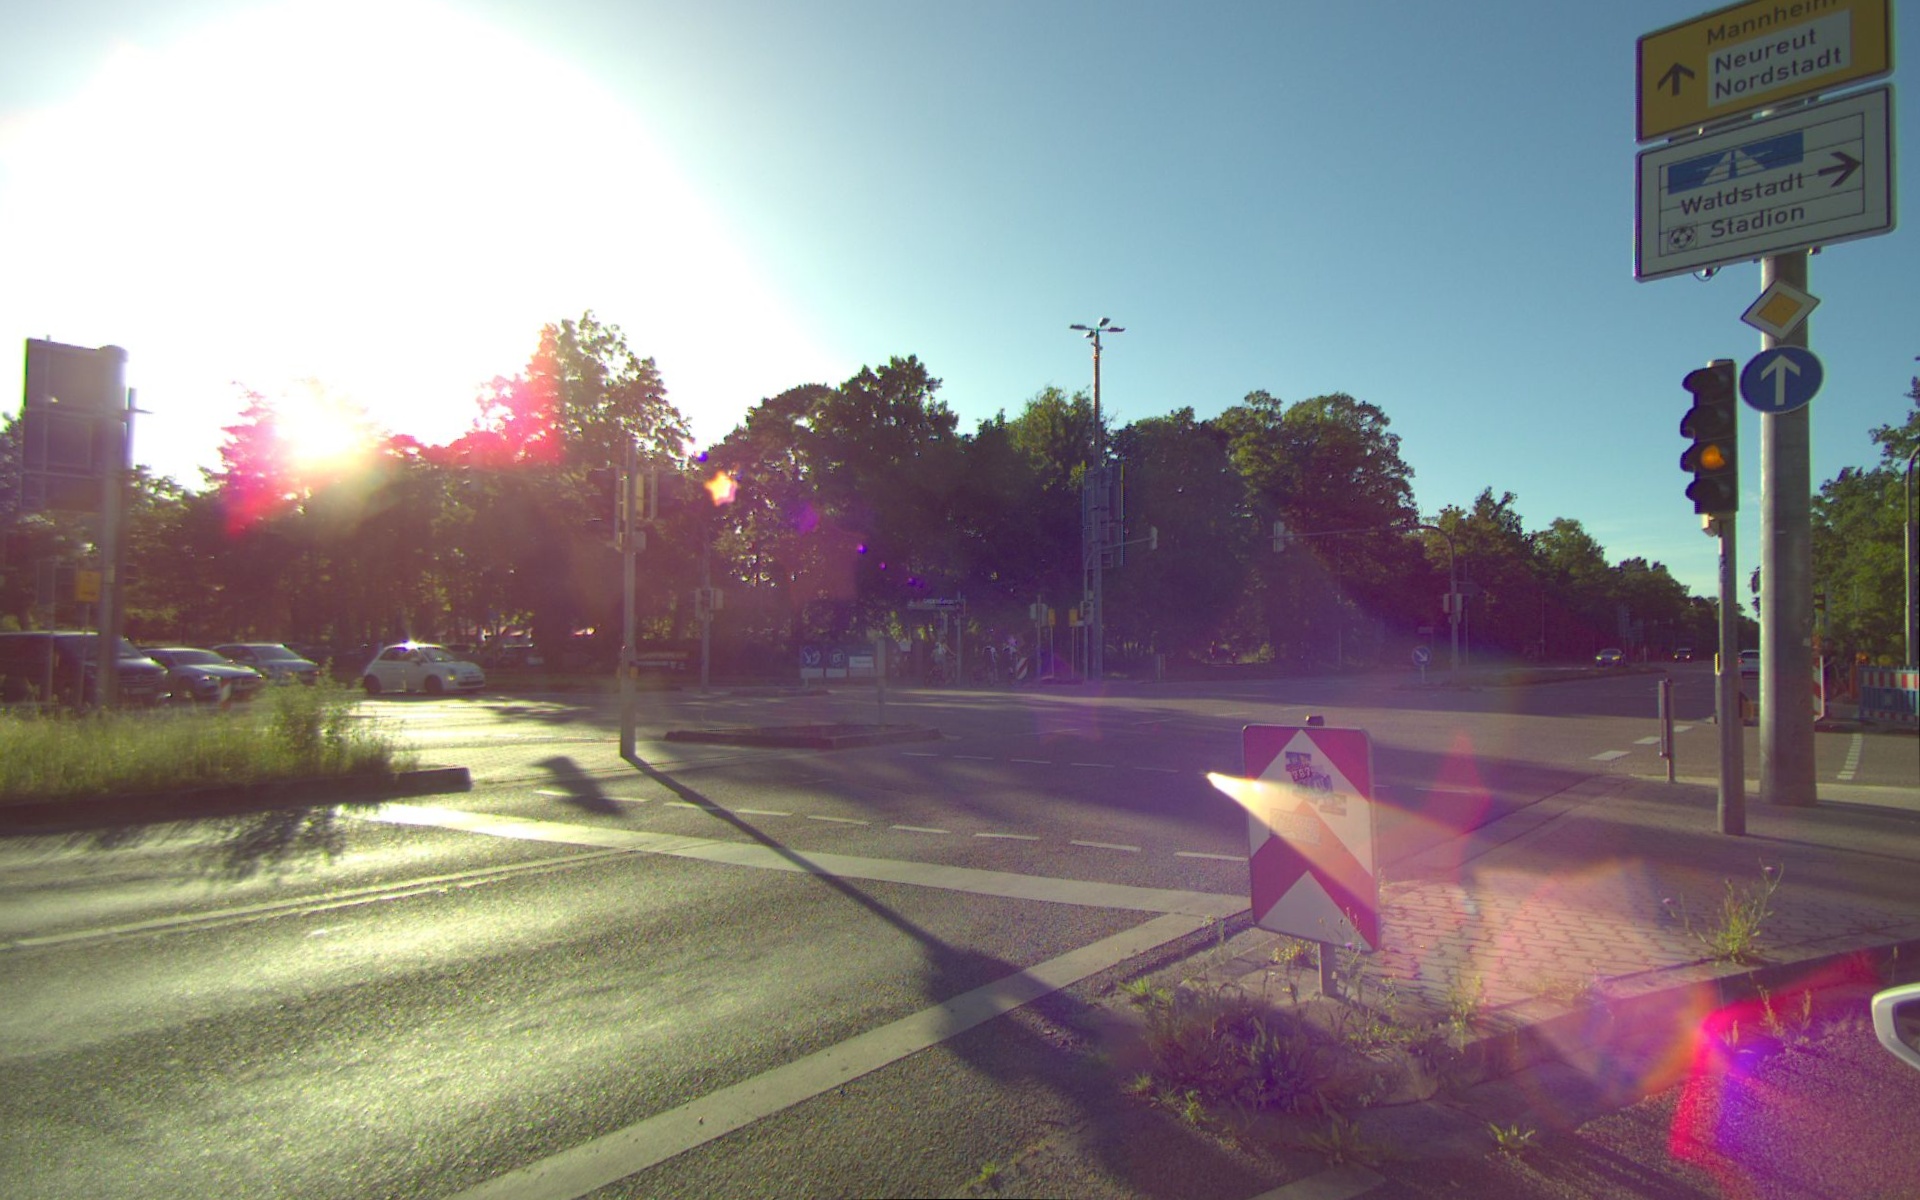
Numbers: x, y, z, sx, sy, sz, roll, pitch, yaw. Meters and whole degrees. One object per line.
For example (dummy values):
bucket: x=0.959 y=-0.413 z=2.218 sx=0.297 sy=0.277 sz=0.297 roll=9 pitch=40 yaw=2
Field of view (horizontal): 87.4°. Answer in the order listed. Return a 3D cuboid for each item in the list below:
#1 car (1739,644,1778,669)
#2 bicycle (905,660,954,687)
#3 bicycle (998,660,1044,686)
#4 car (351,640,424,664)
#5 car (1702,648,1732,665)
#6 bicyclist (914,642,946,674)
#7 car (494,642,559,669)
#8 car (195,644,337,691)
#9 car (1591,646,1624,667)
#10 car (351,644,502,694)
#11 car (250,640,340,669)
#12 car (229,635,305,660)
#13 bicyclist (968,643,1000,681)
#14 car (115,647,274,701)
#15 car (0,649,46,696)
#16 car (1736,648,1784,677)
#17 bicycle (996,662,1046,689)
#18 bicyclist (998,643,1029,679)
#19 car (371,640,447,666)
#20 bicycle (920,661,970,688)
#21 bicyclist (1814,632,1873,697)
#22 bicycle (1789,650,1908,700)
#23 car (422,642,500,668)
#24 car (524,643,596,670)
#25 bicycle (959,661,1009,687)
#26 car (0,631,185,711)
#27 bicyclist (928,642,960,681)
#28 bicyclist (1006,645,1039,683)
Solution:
car: x=53.243 y=3.751 z=66.988 sx=1.969 sy=1.556 sz=3.983 roll=-2 pitch=-3 yaw=39
bicycle: x=-1.149 y=2.791 z=38.235 sx=1.898 sy=0.926 sz=0.708 roll=2 pitch=-2 yaw=-44
bicycle: x=2.362 y=2.806 z=38.781 sx=1.898 sy=0.926 sz=0.708 roll=3 pitch=-3 yaw=-44
car: x=-38.875 y=3.516 z=68.260 sx=1.782 sy=1.620 sz=3.964 roll=-1 pitch=-3 yaw=30
car: x=69.332 y=5.195 z=92.018 sx=1.843 sy=1.463 sz=3.978 roll=0 pitch=-3 yaw=43
bicyclist: x=-1.146 y=2.191 z=38.258 sx=0.984 sy=1.208 sz=0.708 roll=3 pitch=-3 yaw=-44
car: x=-27.166 y=3.468 z=63.030 sx=1.778 sy=1.620 sz=3.502 roll=0 pitch=-2 yaw=21
car: x=-22.271 y=2.136 z=32.267 sx=3.724 sy=1.407 sz=1.855 roll=0 pitch=-3 yaw=18
car: x=59.031 y=5.157 z=91.579 sx=1.971 sy=1.812 sz=4.228 roll=-1 pitch=-3 yaw=41
car: x=-15.943 y=2.039 z=30.052 sx=3.724 sy=1.407 sz=1.929 roll=0 pitch=-3 yaw=18
car: x=-39.299 y=3.225 z=59.473 sx=1.907 sy=1.640 sz=3.996 roll=-1 pitch=-3 yaw=27
car: x=-47.836 y=3.273 z=69.395 sx=1.782 sy=1.620 sz=3.964 roll=-1 pitch=-3 yaw=30
bicyclist: x=0.903 y=2.294 z=37.314 sx=0.984 sy=1.373 sz=0.708 roll=3 pitch=-3 yaw=-44
car: x=-21.336 y=2.037 z=28.021 sx=3.724 sy=1.407 sz=1.649 roll=0 pitch=-3 yaw=18
car: x=-30.565 y=2.209 z=30.987 sx=3.724 sy=1.407 sz=1.855 roll=0 pitch=-3 yaw=18
car: x=42.419 y=3.280 z=53.279 sx=1.917 sy=1.433 sz=3.983 roll=-2 pitch=-3 yaw=39
bicycle: x=2.188 y=2.678 z=35.954 sx=1.898 sy=0.926 sz=0.708 roll=3 pitch=-3 yaw=-44
bicyclist: x=2.038 y=2.343 z=38.480 sx=0.984 sy=1.359 sz=0.708 roll=3 pitch=-3 yaw=-44
car: x=-35.507 y=3.413 z=64.799 sx=1.782 sy=1.620 sz=3.964 roll=-1 pitch=-3 yaw=30
bicycle: x=-0.555 y=2.773 z=37.553 sx=1.898 sy=0.926 sz=0.708 roll=3 pitch=-3 yaw=-44
bicyclist: x=27.043 y=1.958 z=30.759 sx=0.995 sy=1.955 sz=0.969 roll=1 pitch=-1 yaw=11
bicycle: x=27.129 y=2.272 z=30.726 sx=2.586 sy=1.401 sz=0.969 roll=1 pitch=-1 yaw=11
car: x=-31.924 y=3.499 z=64.333 sx=1.782 sy=1.620 sz=4.143 roll=-1 pitch=-3 yaw=30
car: x=-24.752 y=3.460 z=62.284 sx=1.778 sy=1.620 sz=4.197 roll=0 pitch=-2 yaw=20
bicycle: x=0.902 y=2.734 z=37.302 sx=1.898 sy=0.926 sz=0.708 roll=3 pitch=-3 yaw=-44
car: x=-21.959 y=1.706 z=24.900 sx=4.835 sy=1.853 sz=1.929 roll=0 pitch=-3 yaw=18
bicyclist: x=-0.579 y=2.284 z=37.550 sx=0.984 sy=1.408 sz=0.704 roll=3 pitch=-3 yaw=-44
bicyclist: x=2.235 y=2.282 z=36.007 sx=0.984 sy=1.356 sz=0.708 roll=3 pitch=-3 yaw=-44
